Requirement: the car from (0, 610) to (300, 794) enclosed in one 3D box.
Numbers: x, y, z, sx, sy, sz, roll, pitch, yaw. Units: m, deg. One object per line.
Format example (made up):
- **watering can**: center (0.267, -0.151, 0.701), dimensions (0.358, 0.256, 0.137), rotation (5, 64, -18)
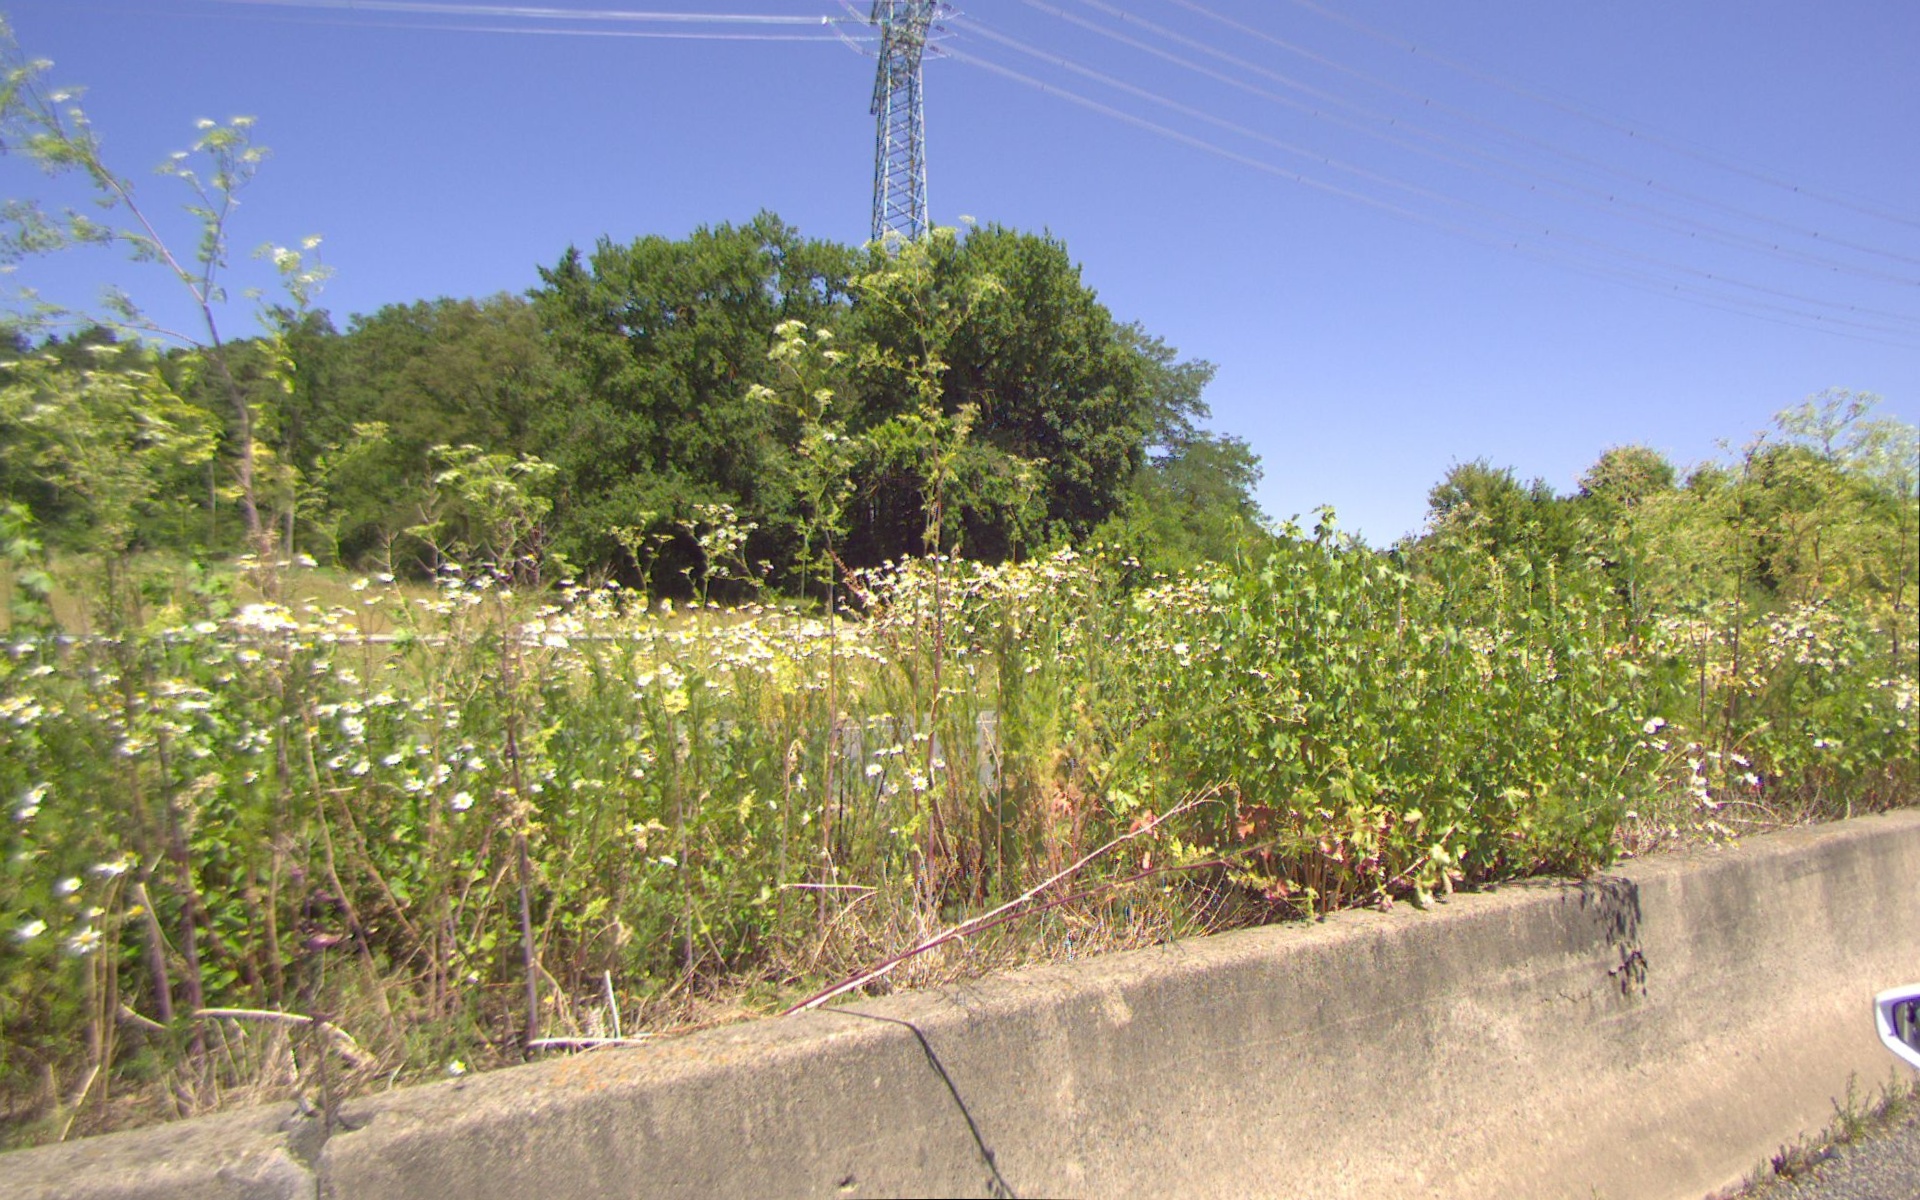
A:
- **car**: center (-7.566, 0.803, 8.583), dimensions (3.090, 1.408, 1.575), rotation (2, -1, -30)
